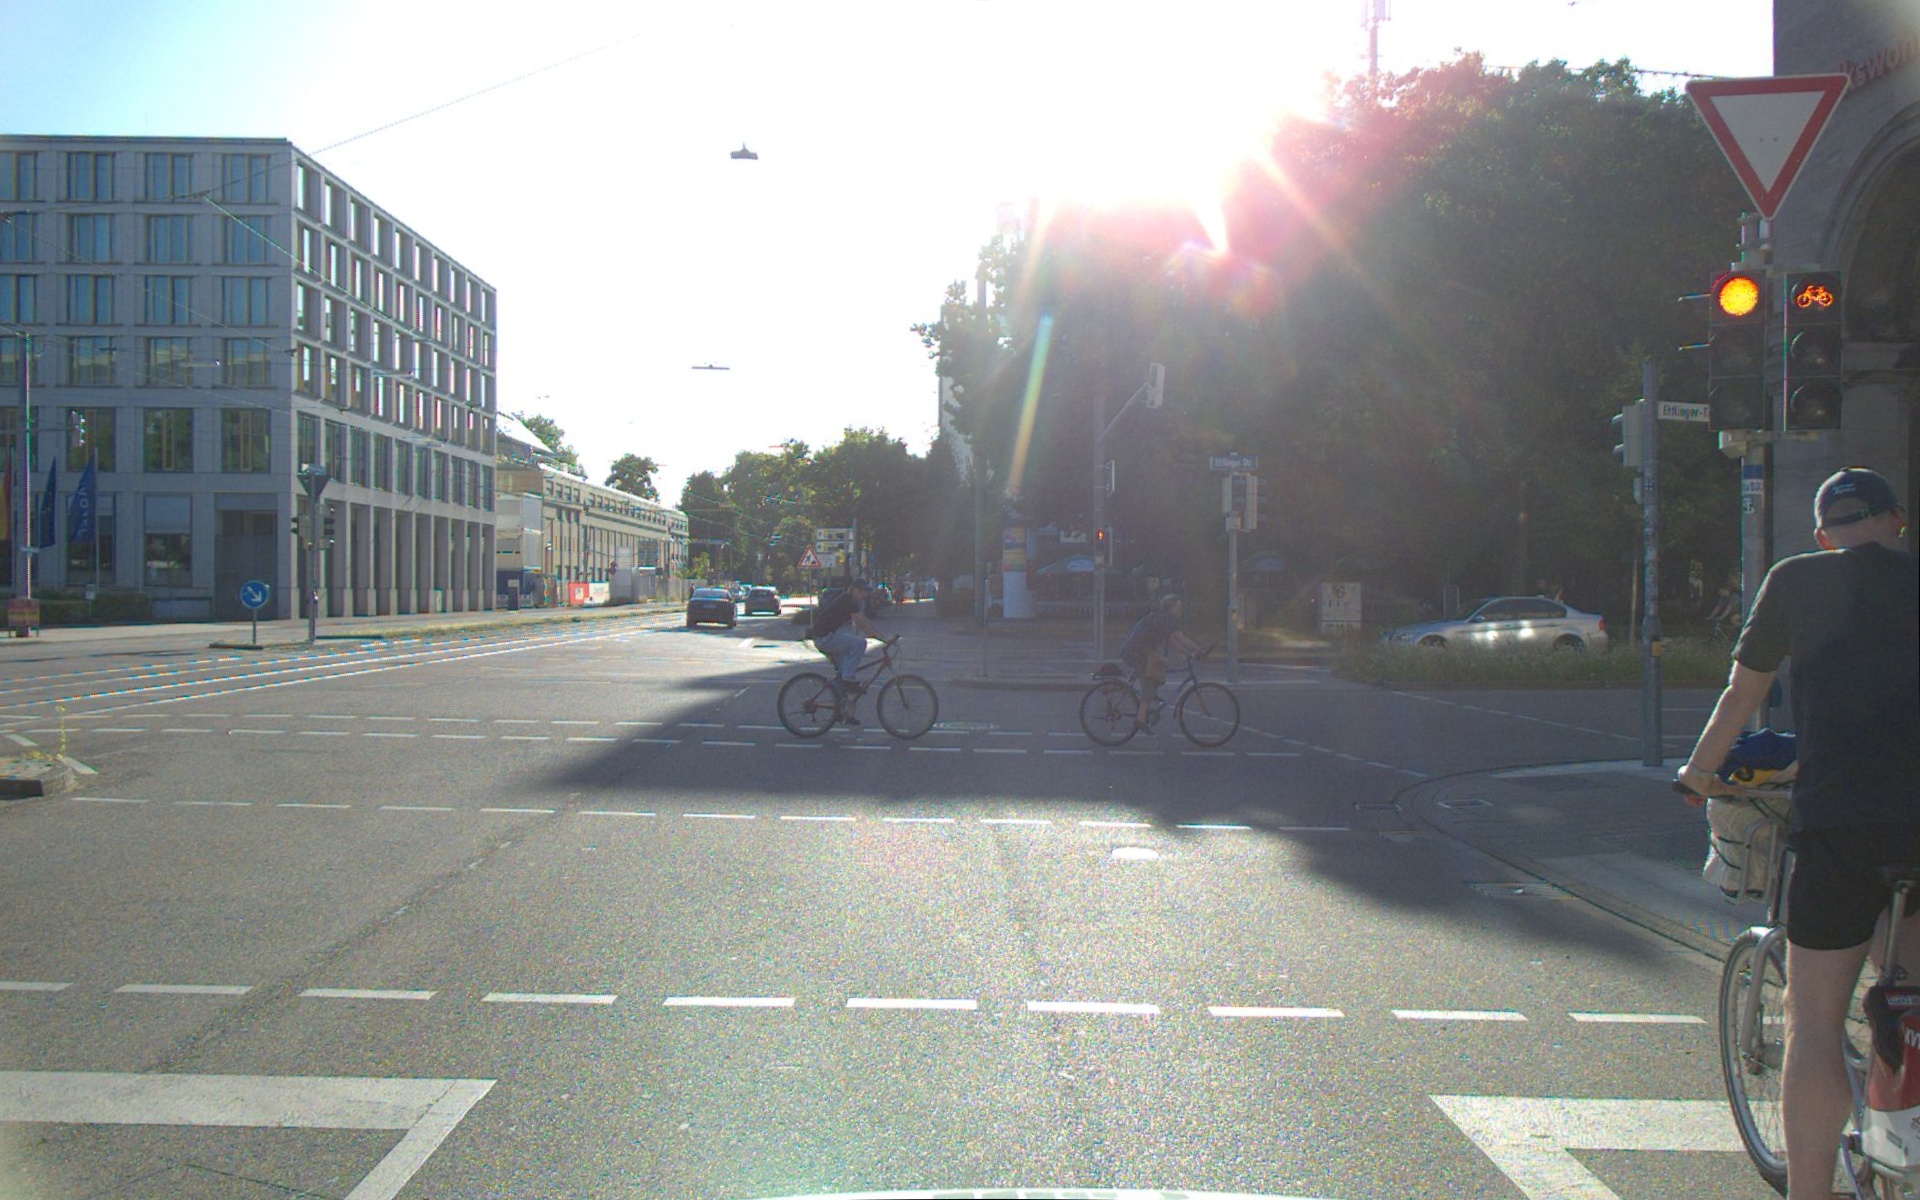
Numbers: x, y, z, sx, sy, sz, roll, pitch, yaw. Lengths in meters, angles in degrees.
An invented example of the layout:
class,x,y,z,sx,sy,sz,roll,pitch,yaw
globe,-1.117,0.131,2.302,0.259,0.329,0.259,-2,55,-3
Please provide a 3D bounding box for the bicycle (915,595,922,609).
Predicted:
class,x,y,z,sx,sy,sz,roll,pitch,yaw
bicycle,-3.322,0.149,131.853,0.563,1.096,1.830,0,0,-1

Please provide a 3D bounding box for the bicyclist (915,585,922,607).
class,x,y,z,sx,sy,sz,roll,pitch,yaw
bicyclist,-3.329,-0.311,131.842,0.558,1.721,0.699,0,0,-1

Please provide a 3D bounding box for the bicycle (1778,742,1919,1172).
class,x,y,z,sx,sy,sz,roll,pitch,yaw
bicycle,2.867,1.001,4.335,0.523,1.096,1.750,1,0,-2

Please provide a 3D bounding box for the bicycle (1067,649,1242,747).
class,x,y,z,sx,sy,sz,roll,pitch,yaw
bicycle,2.001,0.999,17.109,1.709,0.951,0.645,0,0,-5

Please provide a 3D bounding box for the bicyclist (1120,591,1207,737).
class,x,y,z,sx,sy,sz,roll,pitch,yaw
bicyclist,2.099,0.648,17.113,0.782,1.476,0.617,0,0,-5

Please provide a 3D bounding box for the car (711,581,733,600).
class,x,y,z,sx,sy,sz,roll,pitch,yaw
car,-22.468,-0.903,156.109,1.659,1.748,4.244,1,0,-4

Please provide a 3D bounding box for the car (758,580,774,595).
class,x,y,z,sx,sy,sz,roll,pitch,yaw
car,-22.827,-1.442,194.358,1.659,1.748,4.244,1,0,-4

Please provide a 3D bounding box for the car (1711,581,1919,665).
class,x,y,z,sx,sy,sz,roll,pitch,yaw
car,17.486,0.442,33.547,3.770,1.639,1.650,0,0,-1

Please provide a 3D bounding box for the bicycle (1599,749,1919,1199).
class,x,y,z,sx,sy,sz,roll,pitch,yaw
bicycle,2.079,0.982,3.887,0.505,1.096,1.728,1,0,1

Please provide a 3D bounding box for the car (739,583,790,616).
class,x,y,z,sx,sy,sz,roll,pitch,yaw
car,-10.493,-0.043,89.234,1.853,1.592,4.810,3,1,3

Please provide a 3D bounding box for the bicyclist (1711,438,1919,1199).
class,x,y,z,sx,sy,sz,roll,pitch,yaw
bicyclist,2.098,0.580,3.729,0.547,1.830,0.550,1,0,1

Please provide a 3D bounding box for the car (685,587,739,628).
class,x,y,z,sx,sy,sz,roll,pitch,yaw
car,-9.544,0.270,63.813,1.627,1.481,4.429,1,0,-3

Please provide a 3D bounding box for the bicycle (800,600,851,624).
class,x,y,z,sx,sy,sz,roll,pitch,yaw
bicycle,-5.482,0.505,67.380,1.976,0.907,0.650,-2,-1,27

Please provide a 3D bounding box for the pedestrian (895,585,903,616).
class,x,y,z,sx,sy,sz,roll,pitch,yaw
pedestrian,-3.608,0.029,97.647,0.454,1.845,0.502,0,0,-5

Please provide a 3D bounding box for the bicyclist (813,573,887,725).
class,x,y,z,sx,sy,sz,roll,pitch,yaw
bicyclist,-1.151,0.501,17.251,0.748,1.550,0.606,0,0,-5

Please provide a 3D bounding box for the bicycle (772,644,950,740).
class,x,y,z,sx,sy,sz,roll,pitch,yaw
bicycle,-1.039,0.946,17.237,1.821,0.951,0.559,0,0,-6

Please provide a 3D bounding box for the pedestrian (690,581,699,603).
class,x,y,z,sx,sy,sz,roll,pitch,yaw
pedestrian,-25.122,-0.744,156.530,0.660,2.049,0.751,1,-1,-3

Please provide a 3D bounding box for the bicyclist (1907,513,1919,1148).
class,x,y,z,sx,sy,sz,roll,pitch,yaw
bicyclist,2.891,0.629,4.227,0.546,1.721,0.640,1,0,-2

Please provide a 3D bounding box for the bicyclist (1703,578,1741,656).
class,x,y,z,sx,sy,sz,roll,pitch,yaw
bicyclist,16.861,0.376,36.592,0.630,1.712,0.507,0,0,5

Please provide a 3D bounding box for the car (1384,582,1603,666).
class,x,y,z,sx,sy,sz,roll,pitch,yaw
car,10.778,0.476,33.559,3.912,1.639,1.650,0,0,-1
